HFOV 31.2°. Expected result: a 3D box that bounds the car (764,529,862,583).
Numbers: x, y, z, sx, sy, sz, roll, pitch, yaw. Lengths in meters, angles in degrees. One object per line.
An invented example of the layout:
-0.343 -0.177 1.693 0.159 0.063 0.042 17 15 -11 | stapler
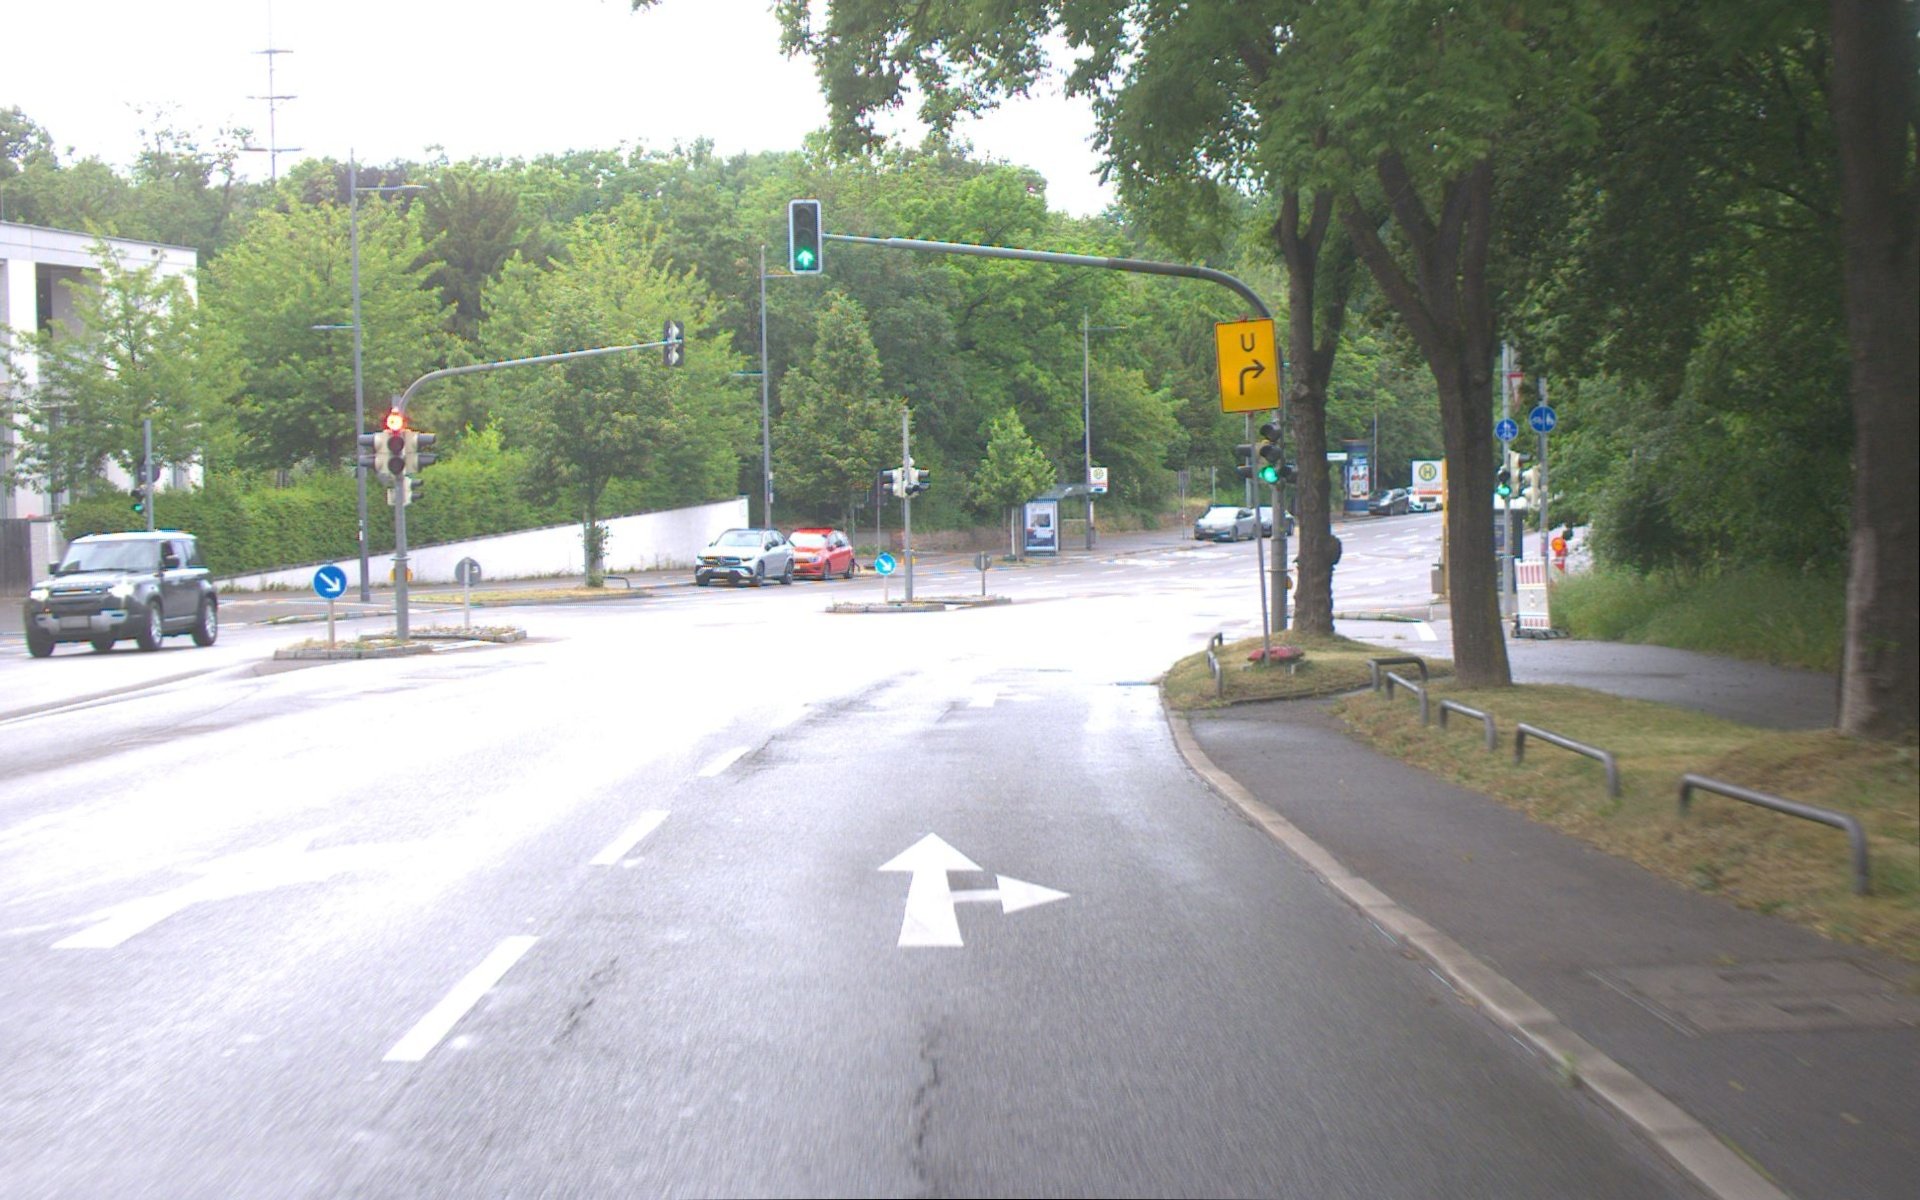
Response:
-4.590 -1.388 107.649 1.876 1.569 4.220 2 2 14 | car

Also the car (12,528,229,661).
-13.207 -0.128 54.389 1.921 1.851 4.506 -4 1 4 | car

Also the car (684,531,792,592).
-6.472 -1.156 100.640 1.854 1.634 4.091 3 2 16 | car

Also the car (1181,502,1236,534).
11.560 -3.787 159.653 1.714 1.455 3.747 1 1 18 | car
